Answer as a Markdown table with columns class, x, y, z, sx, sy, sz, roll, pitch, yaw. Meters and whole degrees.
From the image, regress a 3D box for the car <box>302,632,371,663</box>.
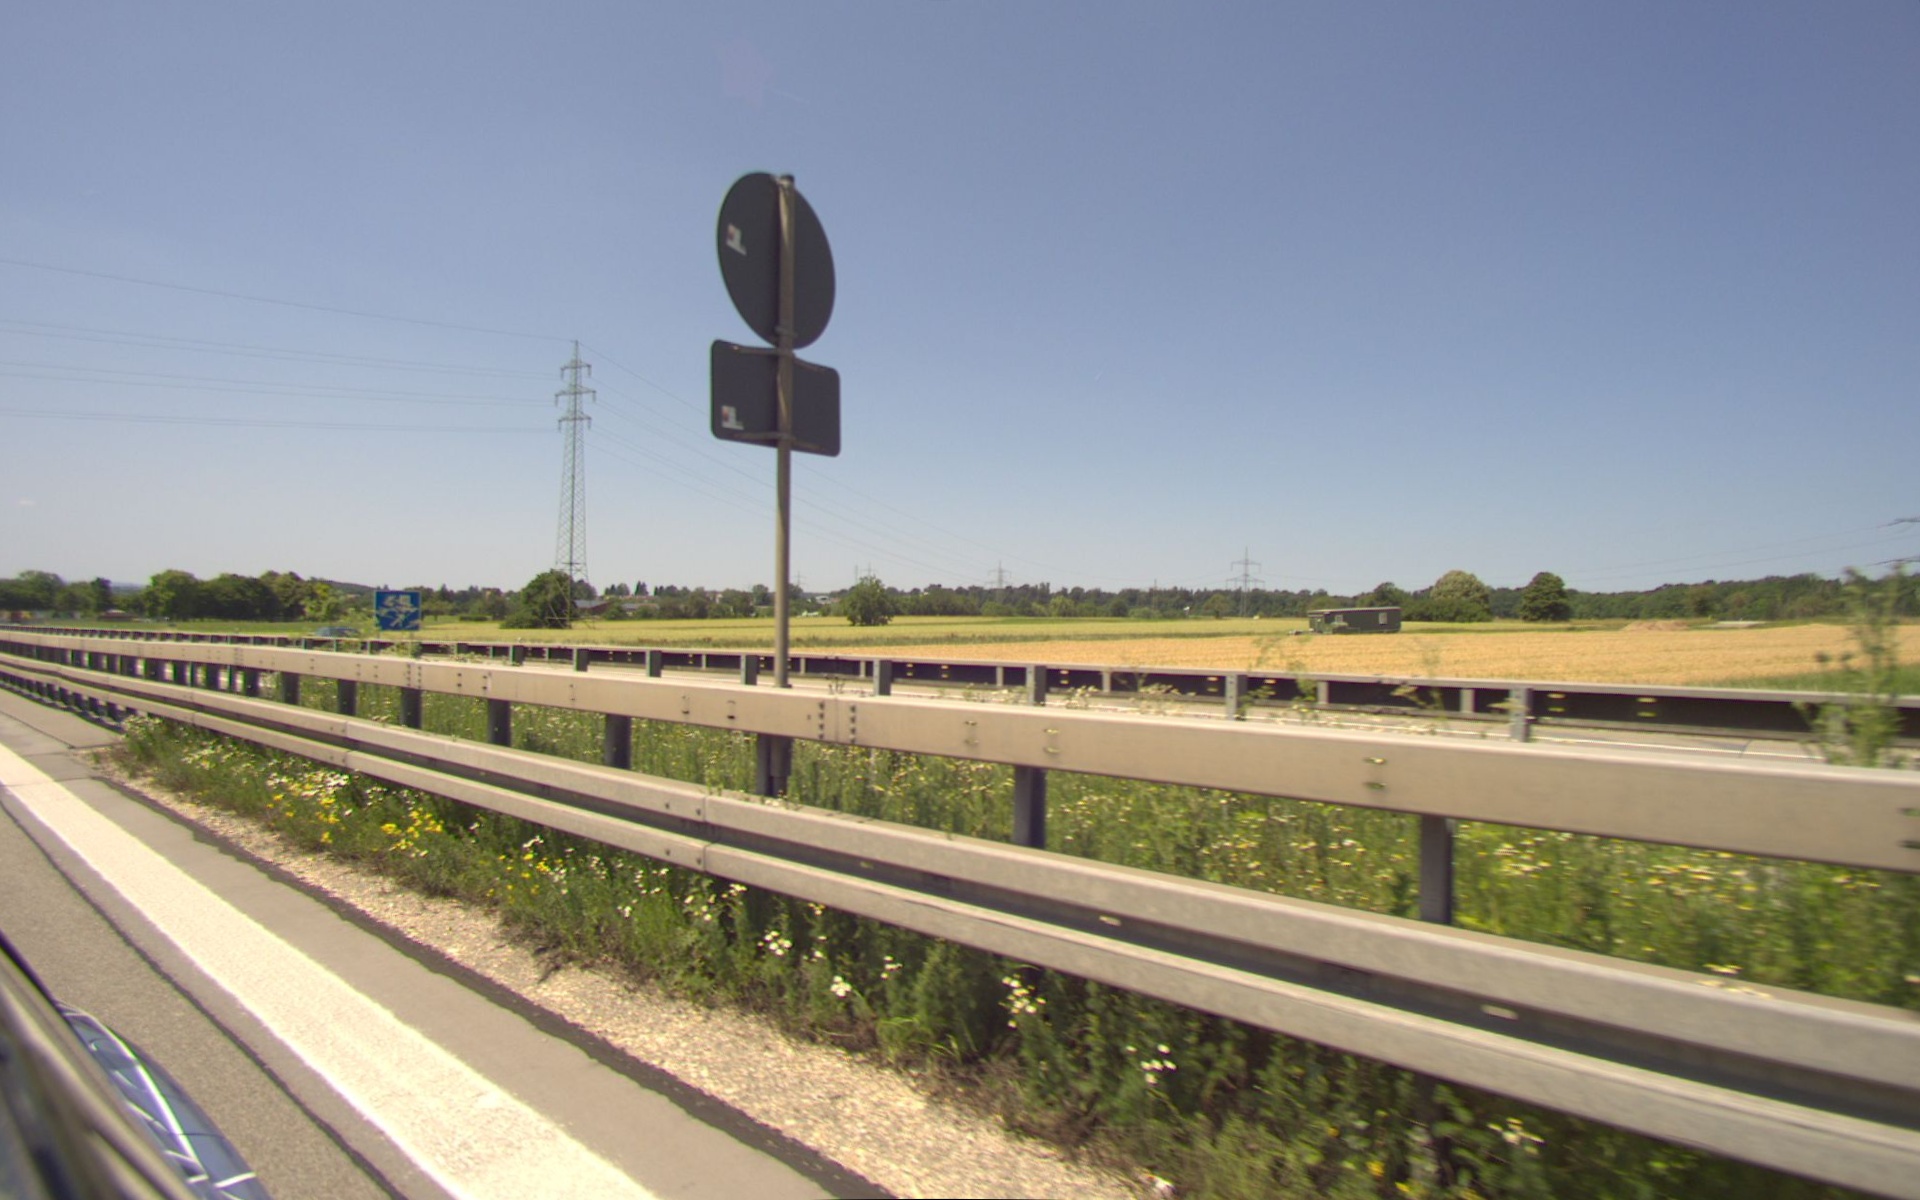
| class | x | y | z | sx | sy | sz | roll | pitch | yaw |
| --- | --- | --- | --- | --- | --- | --- | --- | --- | --- |
| car | -28.407 | 2.123 | 46.075 | 4.039 | 1.316 | 1.557 | -1 | -2 | 41 |
